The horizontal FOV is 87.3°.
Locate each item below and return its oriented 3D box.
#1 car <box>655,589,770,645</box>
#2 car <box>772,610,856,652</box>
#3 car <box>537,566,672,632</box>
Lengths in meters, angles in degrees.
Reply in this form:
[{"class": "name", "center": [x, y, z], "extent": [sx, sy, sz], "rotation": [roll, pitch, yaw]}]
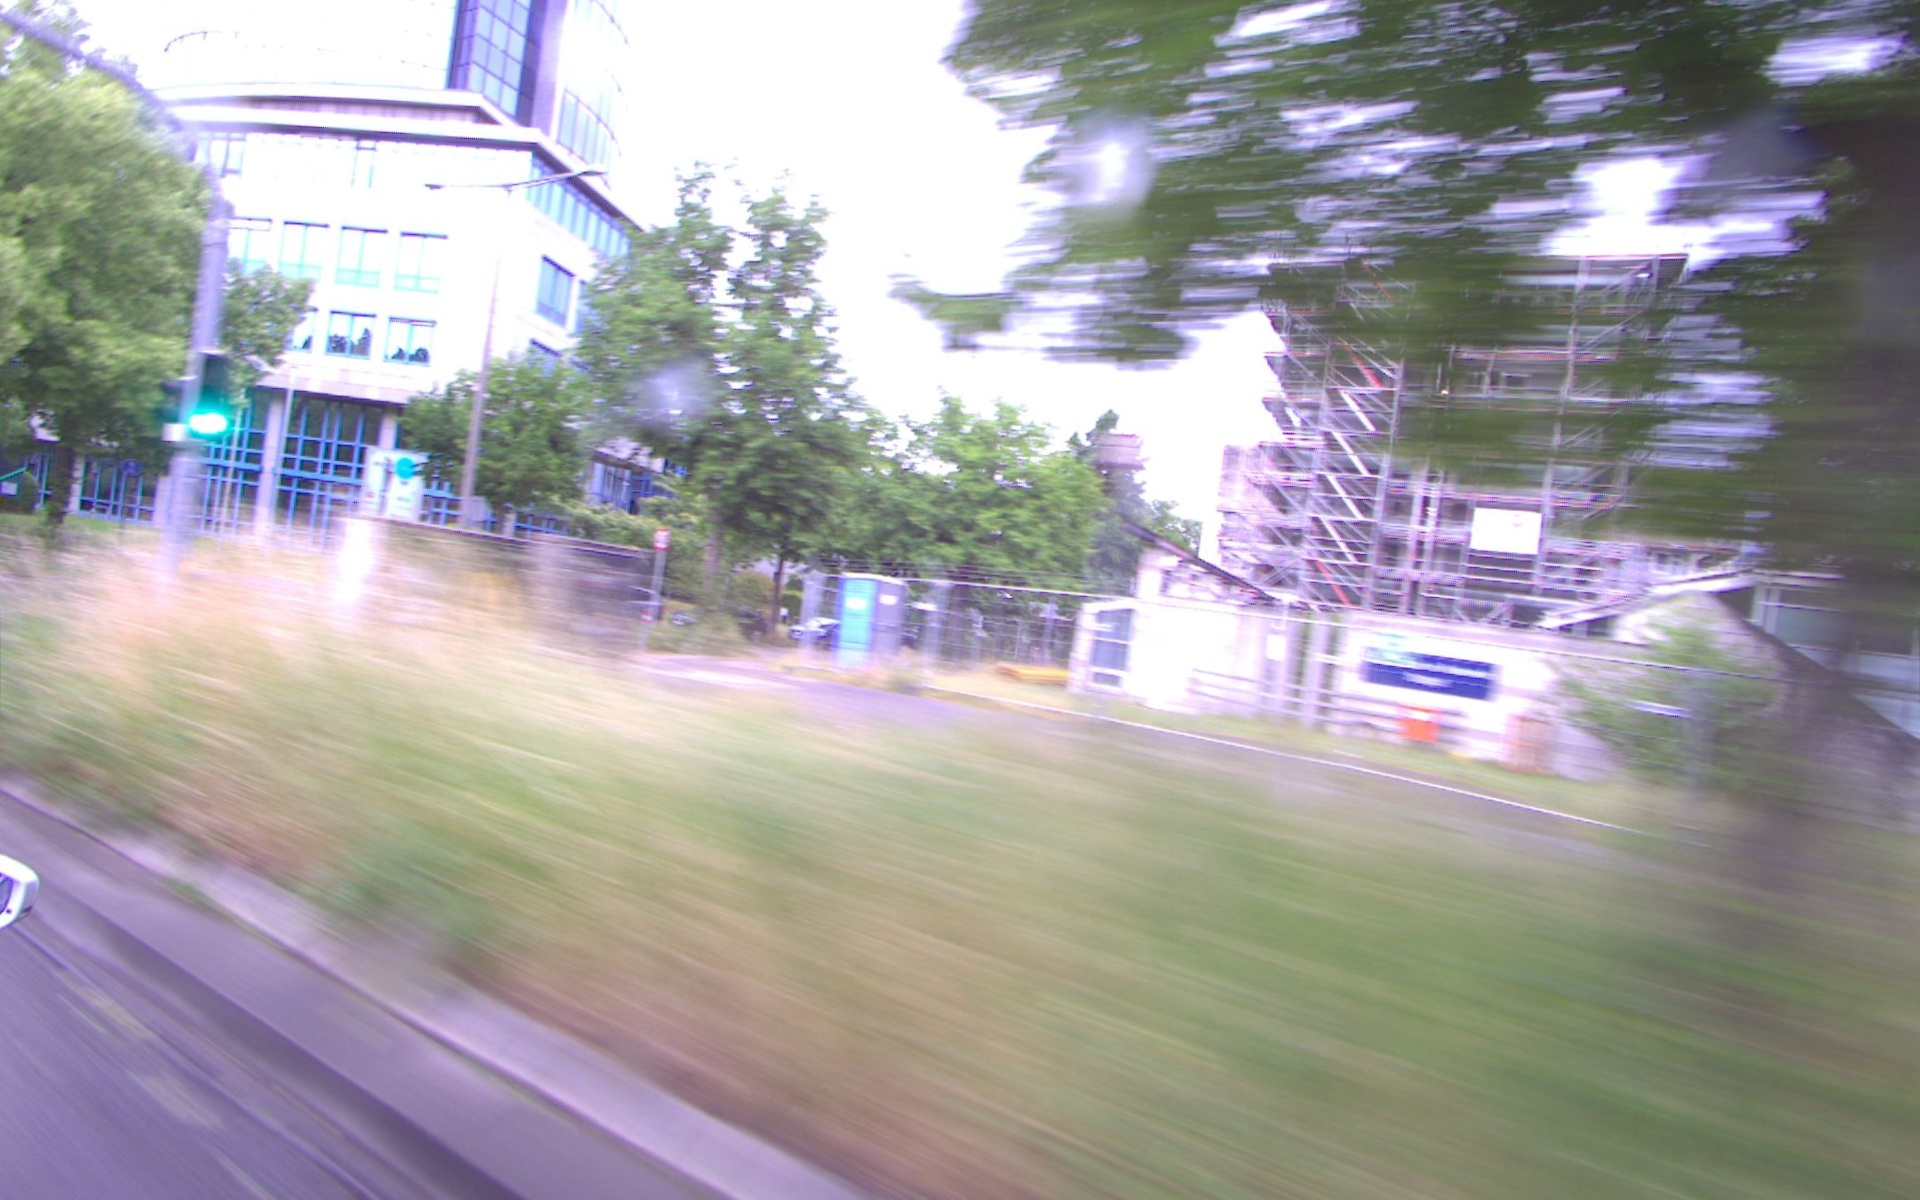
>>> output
[{"class": "car", "center": [-9.731, 0.713, 39.853], "extent": [1.730, 1.597, 4.100], "rotation": [10, 0, 36]}, {"class": "car", "center": [-6.716, 1.475, 46.818], "extent": [1.726, 1.450, 4.110], "rotation": [10, 0, 25]}, {"class": "car", "center": [-12.502, 0.009, 35.609], "extent": [1.730, 1.661, 4.100], "rotation": [10, 0, 36]}]
